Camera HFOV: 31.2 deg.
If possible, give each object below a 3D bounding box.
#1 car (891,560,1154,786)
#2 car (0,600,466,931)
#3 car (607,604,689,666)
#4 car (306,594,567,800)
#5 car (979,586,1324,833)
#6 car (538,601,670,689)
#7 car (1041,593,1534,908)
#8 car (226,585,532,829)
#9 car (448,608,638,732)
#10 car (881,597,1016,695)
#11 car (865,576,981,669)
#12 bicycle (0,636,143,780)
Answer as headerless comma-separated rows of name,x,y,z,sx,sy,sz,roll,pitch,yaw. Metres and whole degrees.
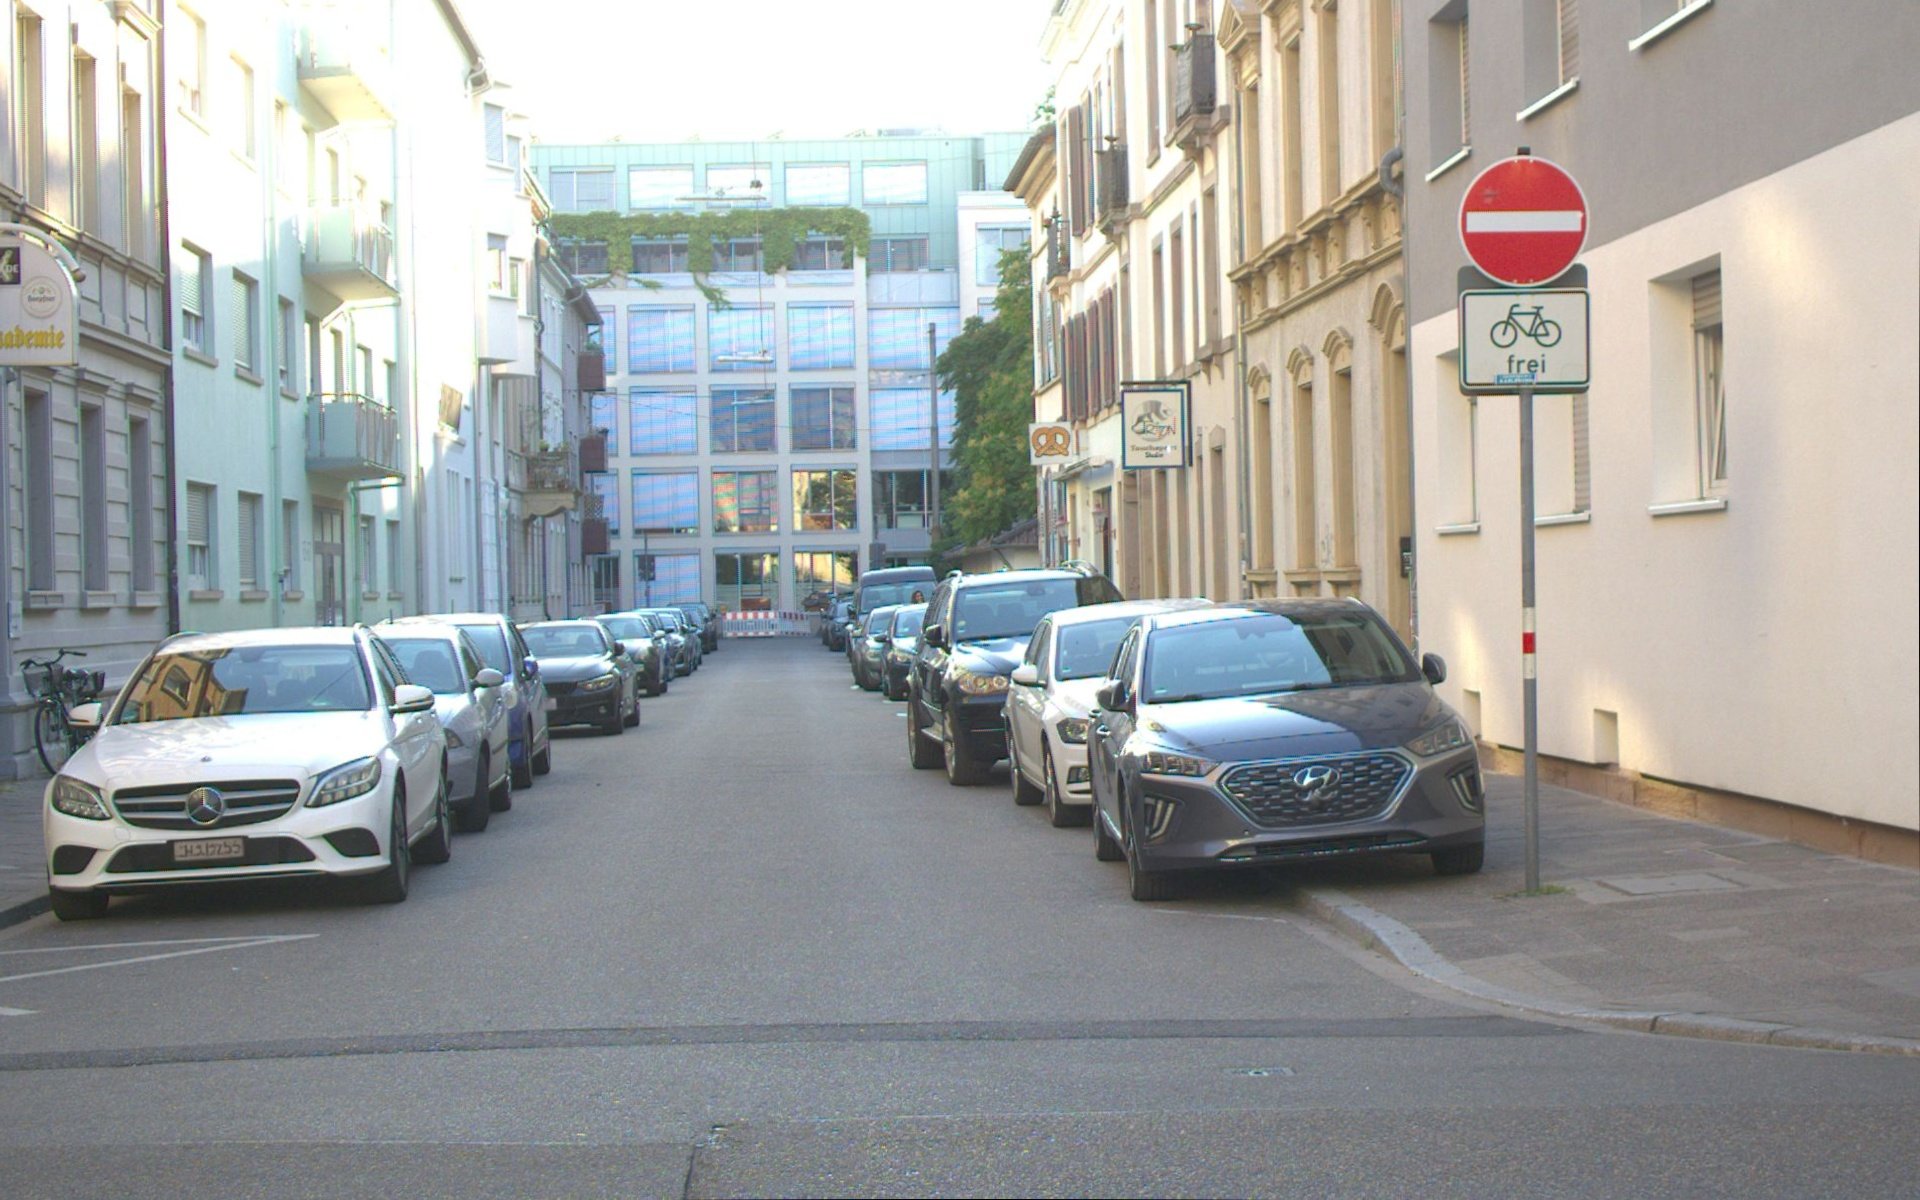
car,0.464,0.576,29.635,1.893,1.778,4.001,-1,0,-4
car,-3.934,0.815,19.281,1.993,1.559,4.507,-1,0,-5
car,-6.932,0.759,76.743,1.707,1.298,4.001,-1,0,-4
car,-4.555,0.799,30.408,1.785,1.653,3.817,-1,0,-1
car,1.255,0.703,24.244,1.963,1.552,3.889,-1,0,-3
car,-6.150,0.754,59.659,2.172,1.413,4.001,-1,0,-5
car,1.600,0.708,18.183,1.938,1.367,3.789,-3,1,-4
car,-4.086,0.702,24.682,1.624,1.571,3.754,-1,0,-1
car,-5.028,0.811,41.926,1.993,1.350,4.429,-1,0,-3
car,-0.221,0.706,54.765,1.993,1.446,4.000,-1,0,-2
car,-0.741,0.397,65.440,1.993,1.694,4.000,-1,0,-3
bicycle,-7.797,0.926,30.263,0.737,1.157,2.461,-1,0,-3
